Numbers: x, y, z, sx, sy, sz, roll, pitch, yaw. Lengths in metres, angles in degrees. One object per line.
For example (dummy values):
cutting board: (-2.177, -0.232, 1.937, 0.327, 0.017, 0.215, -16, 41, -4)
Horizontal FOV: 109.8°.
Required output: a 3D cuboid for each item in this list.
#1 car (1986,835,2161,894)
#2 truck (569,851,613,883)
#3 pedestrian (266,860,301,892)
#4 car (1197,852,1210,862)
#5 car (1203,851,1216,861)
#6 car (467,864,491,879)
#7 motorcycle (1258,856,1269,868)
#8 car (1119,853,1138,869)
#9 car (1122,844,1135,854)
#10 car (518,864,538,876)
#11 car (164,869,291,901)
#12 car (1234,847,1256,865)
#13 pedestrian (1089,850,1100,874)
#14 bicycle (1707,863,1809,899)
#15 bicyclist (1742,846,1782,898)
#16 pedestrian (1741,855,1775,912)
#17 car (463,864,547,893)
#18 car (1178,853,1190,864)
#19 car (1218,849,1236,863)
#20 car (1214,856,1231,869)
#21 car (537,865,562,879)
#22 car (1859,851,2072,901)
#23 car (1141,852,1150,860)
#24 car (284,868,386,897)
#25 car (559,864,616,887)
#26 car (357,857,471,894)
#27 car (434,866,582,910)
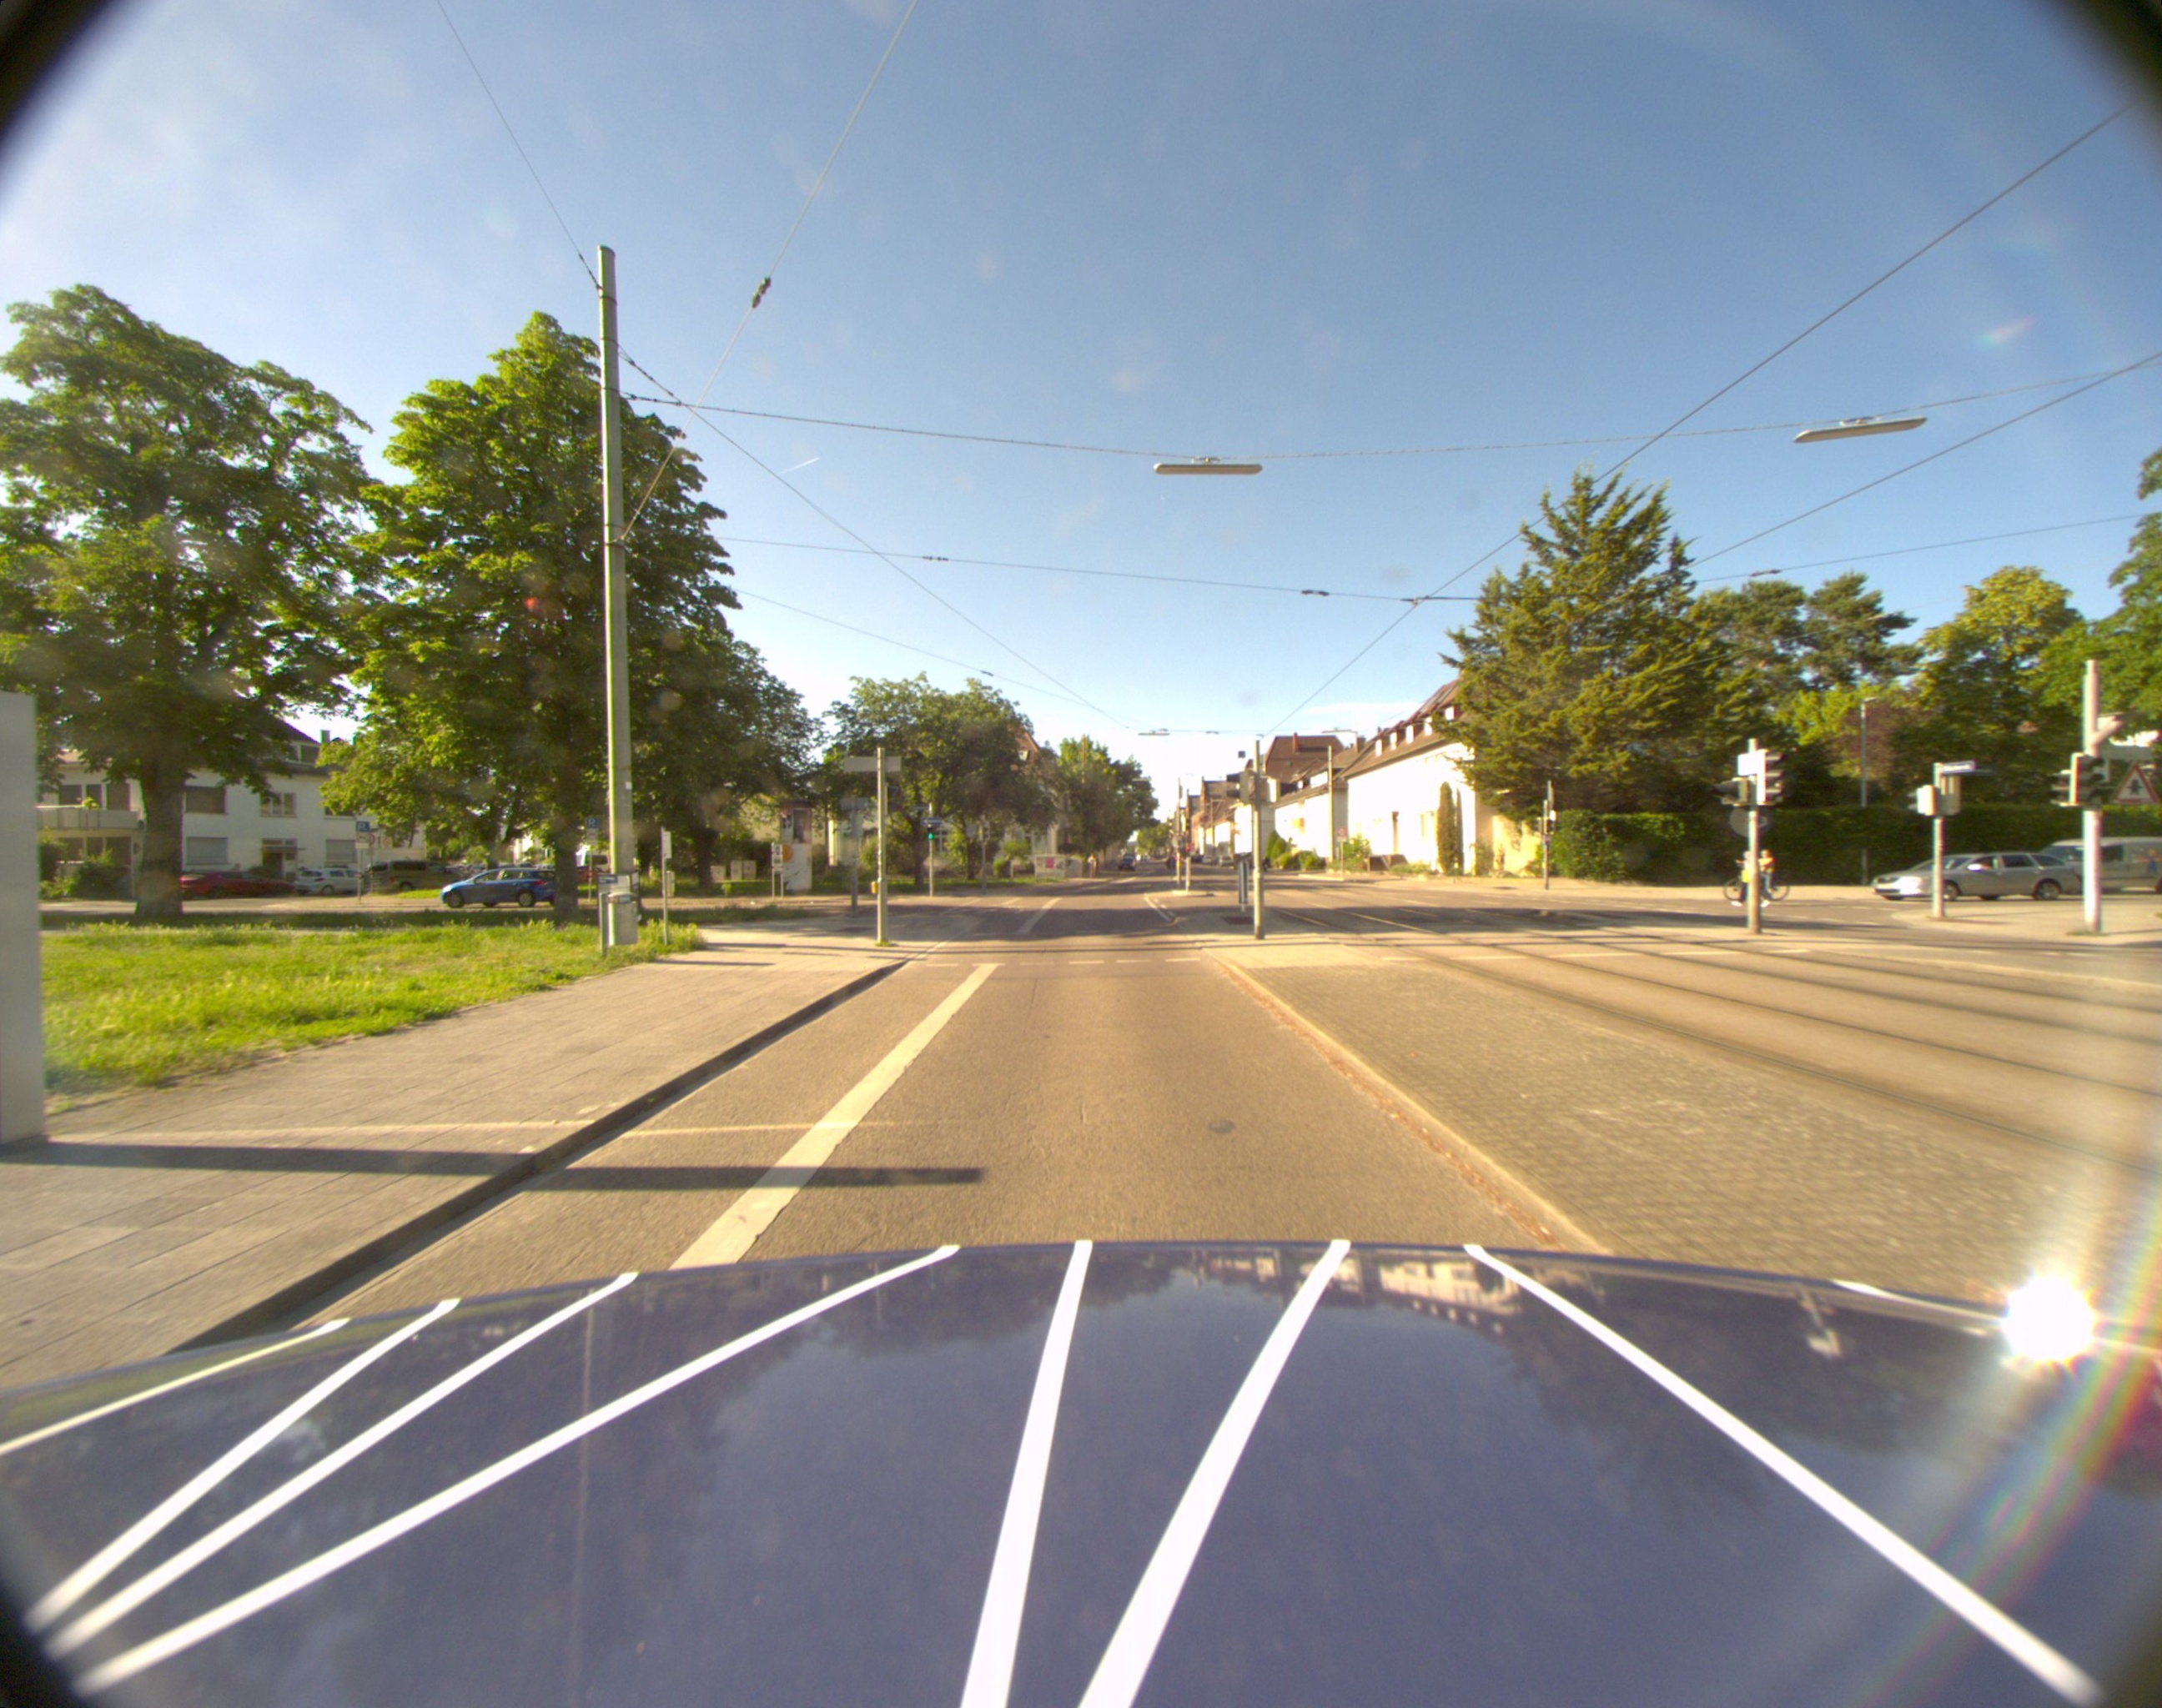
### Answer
car: (33.195, 0.346, 25.013, 4.310, 1.856, 1.817, -1, 0, 6)
truck: (-41.030, 1.101, 63.607, 4.966, 2.561, 2.004, 0, 1, 45)
pedestrian: (-45.234, 1.234, 43.091, 1.023, 1.758, 0.901, -3, 0, 11)
car: (21.900, 0.538, 135.697, 1.923, 1.704, 4.002, -3, 0, 5)
car: (20.464, 0.325, 120.978, 1.923, 1.555, 4.002, -3, 0, 8)
car: (-61.629, 1.804, 77.794, 1.763, 1.462, 3.886, -1, 0, -40)
motorcycle: (16.889, 0.758, 70.269, 0.605, 1.040, 2.438, -3, 0, 6)
car: (5.226, 0.740, 83.024, 1.704, 1.541, 4.003, -3, 0, 9)
car: (7.777, -0.864, 123.587, 1.704, 1.541, 4.003, -3, 0, 9)
car: (-68.229, 1.977, 93.719, 1.763, 1.462, 3.886, -1, 0, -40)
car: (-42.503, 1.512, 37.978, 1.757, 1.462, 3.898, -1, 0, 6)
car: (18.354, 0.246, 85.338, 1.923, 1.890, 4.002, -3, 0, 6)
pedestrian: (0.896, 0.552, 52.018, 0.654, 1.664, 0.943, 1, 0, 6)
bicycle: (21.470, 0.842, 24.152, 2.283, 1.111, 0.931, -1, 0, 12)
bicyclist: (21.596, 0.572, 24.116, 0.559, 1.613, 0.899, 0, 1, 12)
pedestrian: (18.960, 0.826, 21.268, 0.680, 1.547, 0.622, -3, 0, -45)
car: (-34.977, 1.471, 46.260, 1.920, 1.638, 3.717, -1, 0, 13)
car: (18.188, 0.767, 134.074, 1.923, 1.704, 4.002, -3, 0, 8)
car: (19.166, 0.269, 99.908, 1.923, 1.704, 4.001, -3, 0, 5)
car: (19.700, 1.122, 105.913, 1.923, 1.704, 4.001, -3, 0, 4)
car: (-55.898, 1.863, 79.882, 1.763, 1.462, 3.886, -1, 0, -40)
car: (26.699, 0.650, 23.082, 3.994, 1.425, 1.818, -1, 0, 9)
car: (14.736, 0.373, 172.636, 1.923, 1.704, 4.002, -3, 0, 6)
car: (-42.126, 1.570, 43.029, 1.757, 1.462, 3.898, -1, 0, 6)
car: (-34.255, 1.495, 52.869, 1.607, 1.525, 4.280, -1, -1, -8)
car: (-35.663, 1.117, 40.793, 1.920, 1.825, 4.344, -1, 0, 8)
car: (-20.828, 1.216, 27.718, 3.996, 1.425, 1.816, -1, 2, 2)
